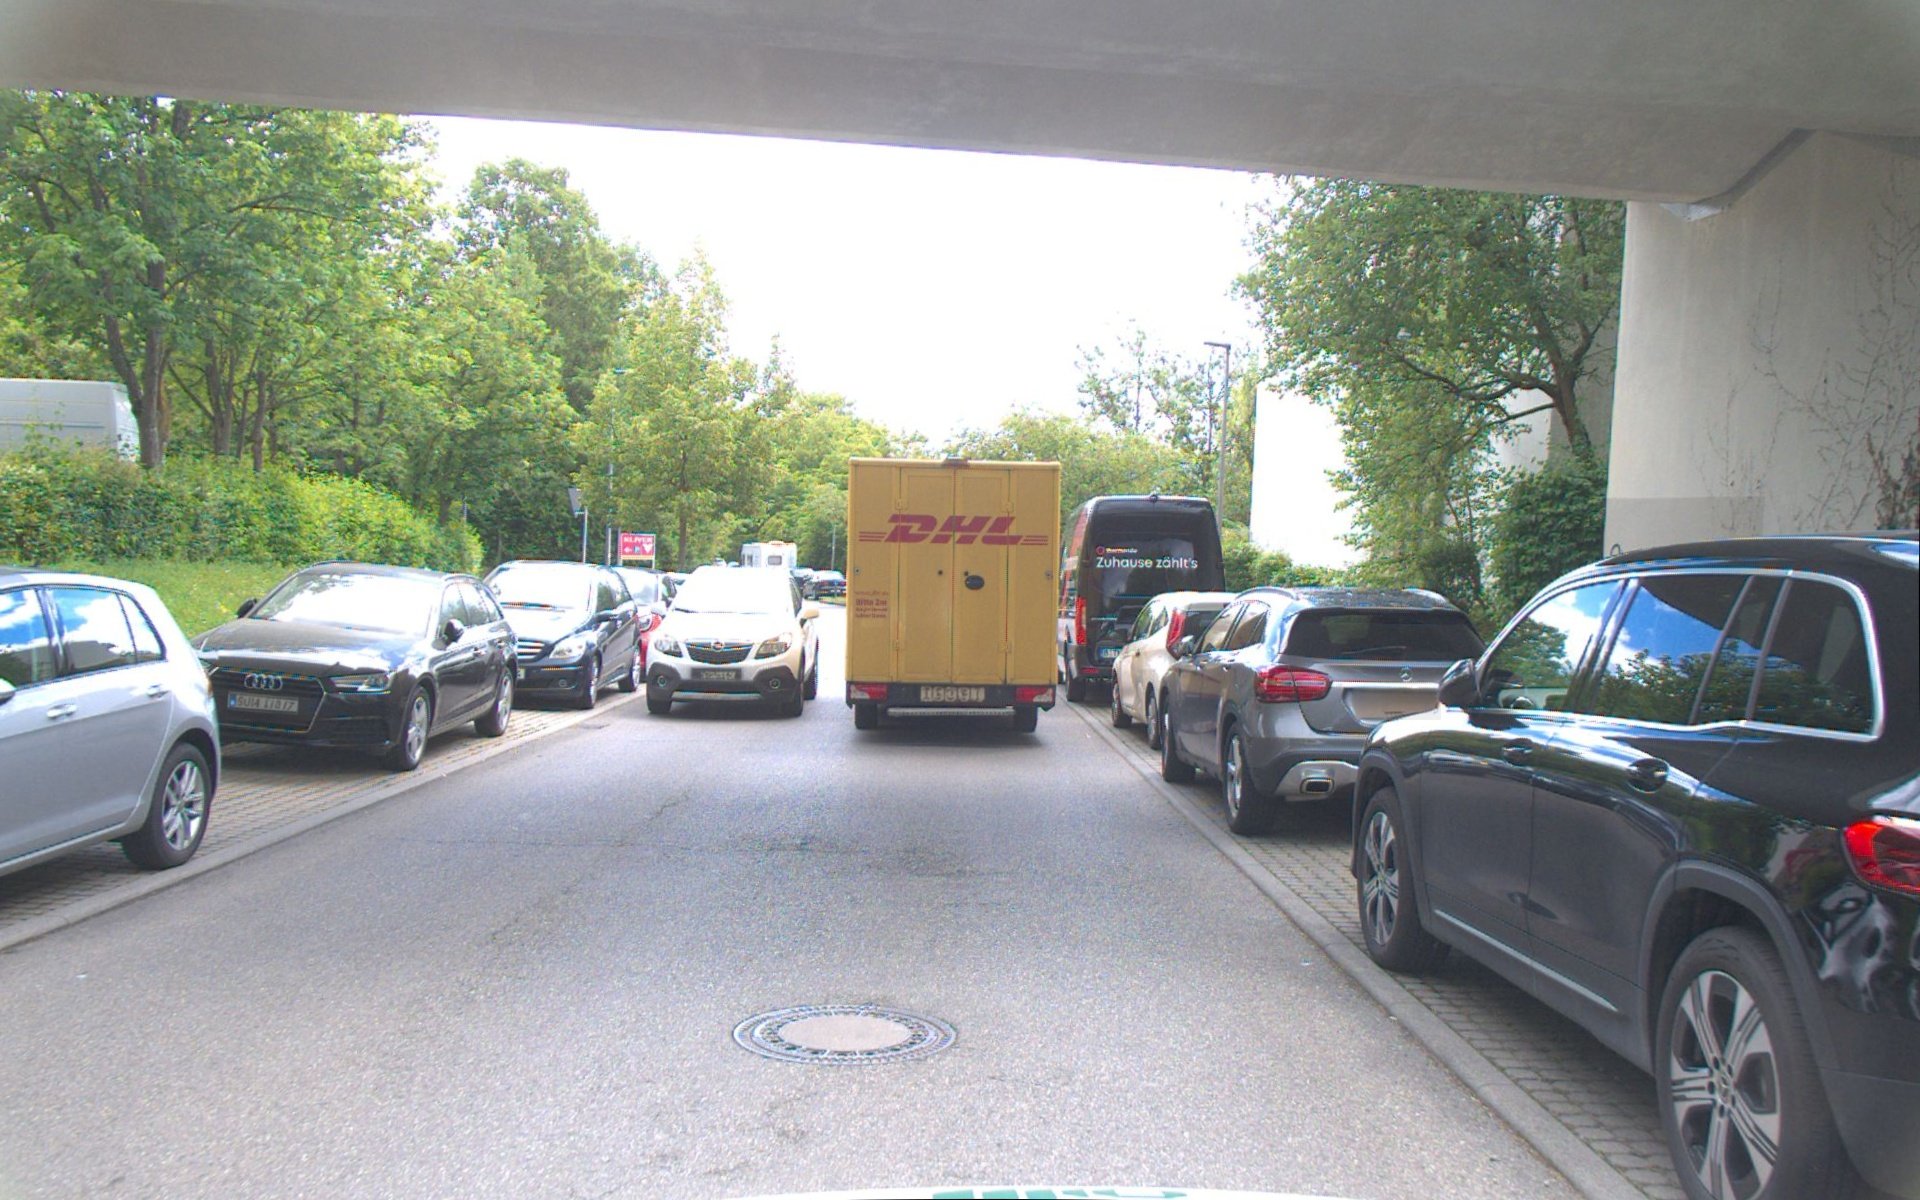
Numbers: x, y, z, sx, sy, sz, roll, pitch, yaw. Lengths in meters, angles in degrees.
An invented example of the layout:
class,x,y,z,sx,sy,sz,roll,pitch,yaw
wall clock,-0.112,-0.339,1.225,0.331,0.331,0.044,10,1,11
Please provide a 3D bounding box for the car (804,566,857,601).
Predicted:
class,x,y,z,sx,sy,sz,roll,pitch,yaw
car,-6.644,-0.836,84.648,1.815,1.556,3.981,2,2,-18

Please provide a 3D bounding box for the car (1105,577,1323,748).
class,x,y,z,sx,sy,sz,roll,pitch,yaw
car,2.467,0.551,16.763,1.531,1.522,3.329,1,1,-3

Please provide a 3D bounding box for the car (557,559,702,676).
class,x,y,z,sx,sy,sz,roll,pitch,yaw
car,-4.769,0.220,24.150,1.497,1.532,2.713,3,1,0

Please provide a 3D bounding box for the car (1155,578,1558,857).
class,x,y,z,sx,sy,sz,roll,pitch,yaw
car,2.466,0.636,11.334,1.665,1.522,4.118,1,1,-1

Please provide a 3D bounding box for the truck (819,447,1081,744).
class,x,y,z,sx,sy,sz,roll,pitch,yaw
truck,-0.218,-0.105,18.957,2.417,2.749,6.822,1,1,-2

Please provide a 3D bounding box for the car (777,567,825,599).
class,x,y,z,sx,sy,sz,roll,pitch,yaw
car,-8.835,-0.972,91.713,1.815,1.556,3.981,2,2,-18

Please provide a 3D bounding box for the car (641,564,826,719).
class,x,y,z,sx,sy,sz,roll,pitch,yaw
car,-2.599,0.404,19.815,1.712,1.639,4.051,1,1,-1

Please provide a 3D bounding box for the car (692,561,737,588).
class,x,y,z,sx,sy,sz,roll,pitch,yaw
car,-16.430,-1.734,110.495,1.821,1.556,3.968,2,2,-26

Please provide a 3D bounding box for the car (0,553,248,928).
class,x,y,z,sx,sy,sz,roll,pitch,yaw
car,-4.729,0.540,6.782,1.846,1.452,4.000,3,1,0

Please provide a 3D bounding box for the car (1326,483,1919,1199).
class,x,y,z,sx,sy,sz,roll,pitch,yaw
car,2.593,0.593,5.103,1.777,1.707,4.369,1,1,-3

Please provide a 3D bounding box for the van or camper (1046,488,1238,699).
class,x,y,z,sx,sy,sz,roll,pitch,yaw
van or camper,2.362,-0.108,22.843,1.953,2.567,5.470,0,0,-1

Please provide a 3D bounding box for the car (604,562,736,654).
class,x,y,z,sx,sy,sz,roll,pitch,yaw
car,-5.091,0.100,29.456,1.640,1.461,3.969,3,1,-1

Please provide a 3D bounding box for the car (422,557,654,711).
class,x,y,z,sx,sy,sz,roll,pitch,yaw
car,-4.931,0.337,19.857,1.847,1.586,3.837,2,1,-2

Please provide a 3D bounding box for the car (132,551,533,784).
class,x,y,z,sx,sy,sz,roll,pitch,yaw
car,-4.906,0.430,13.662,1.848,1.535,4.449,3,1,-5

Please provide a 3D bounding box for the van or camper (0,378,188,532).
class,x,y,z,sx,sy,sz,roll,pitch,yaw
van or camper,-14.412,-2.194,24.683,4.761,2.121,1.998,2,2,-6

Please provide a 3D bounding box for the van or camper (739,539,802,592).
class,x,y,z,sx,sy,sz,roll,pitch,yaw
van or camper,-11.290,-2.069,98.204,2.293,2.921,5.223,0,3,-24

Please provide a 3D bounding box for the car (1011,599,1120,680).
class,x,y,z,sx,sy,sz,roll,pitch,yaw
car,2.061,0.750,33.384,1.694,1.458,3.966,3,0,-3
